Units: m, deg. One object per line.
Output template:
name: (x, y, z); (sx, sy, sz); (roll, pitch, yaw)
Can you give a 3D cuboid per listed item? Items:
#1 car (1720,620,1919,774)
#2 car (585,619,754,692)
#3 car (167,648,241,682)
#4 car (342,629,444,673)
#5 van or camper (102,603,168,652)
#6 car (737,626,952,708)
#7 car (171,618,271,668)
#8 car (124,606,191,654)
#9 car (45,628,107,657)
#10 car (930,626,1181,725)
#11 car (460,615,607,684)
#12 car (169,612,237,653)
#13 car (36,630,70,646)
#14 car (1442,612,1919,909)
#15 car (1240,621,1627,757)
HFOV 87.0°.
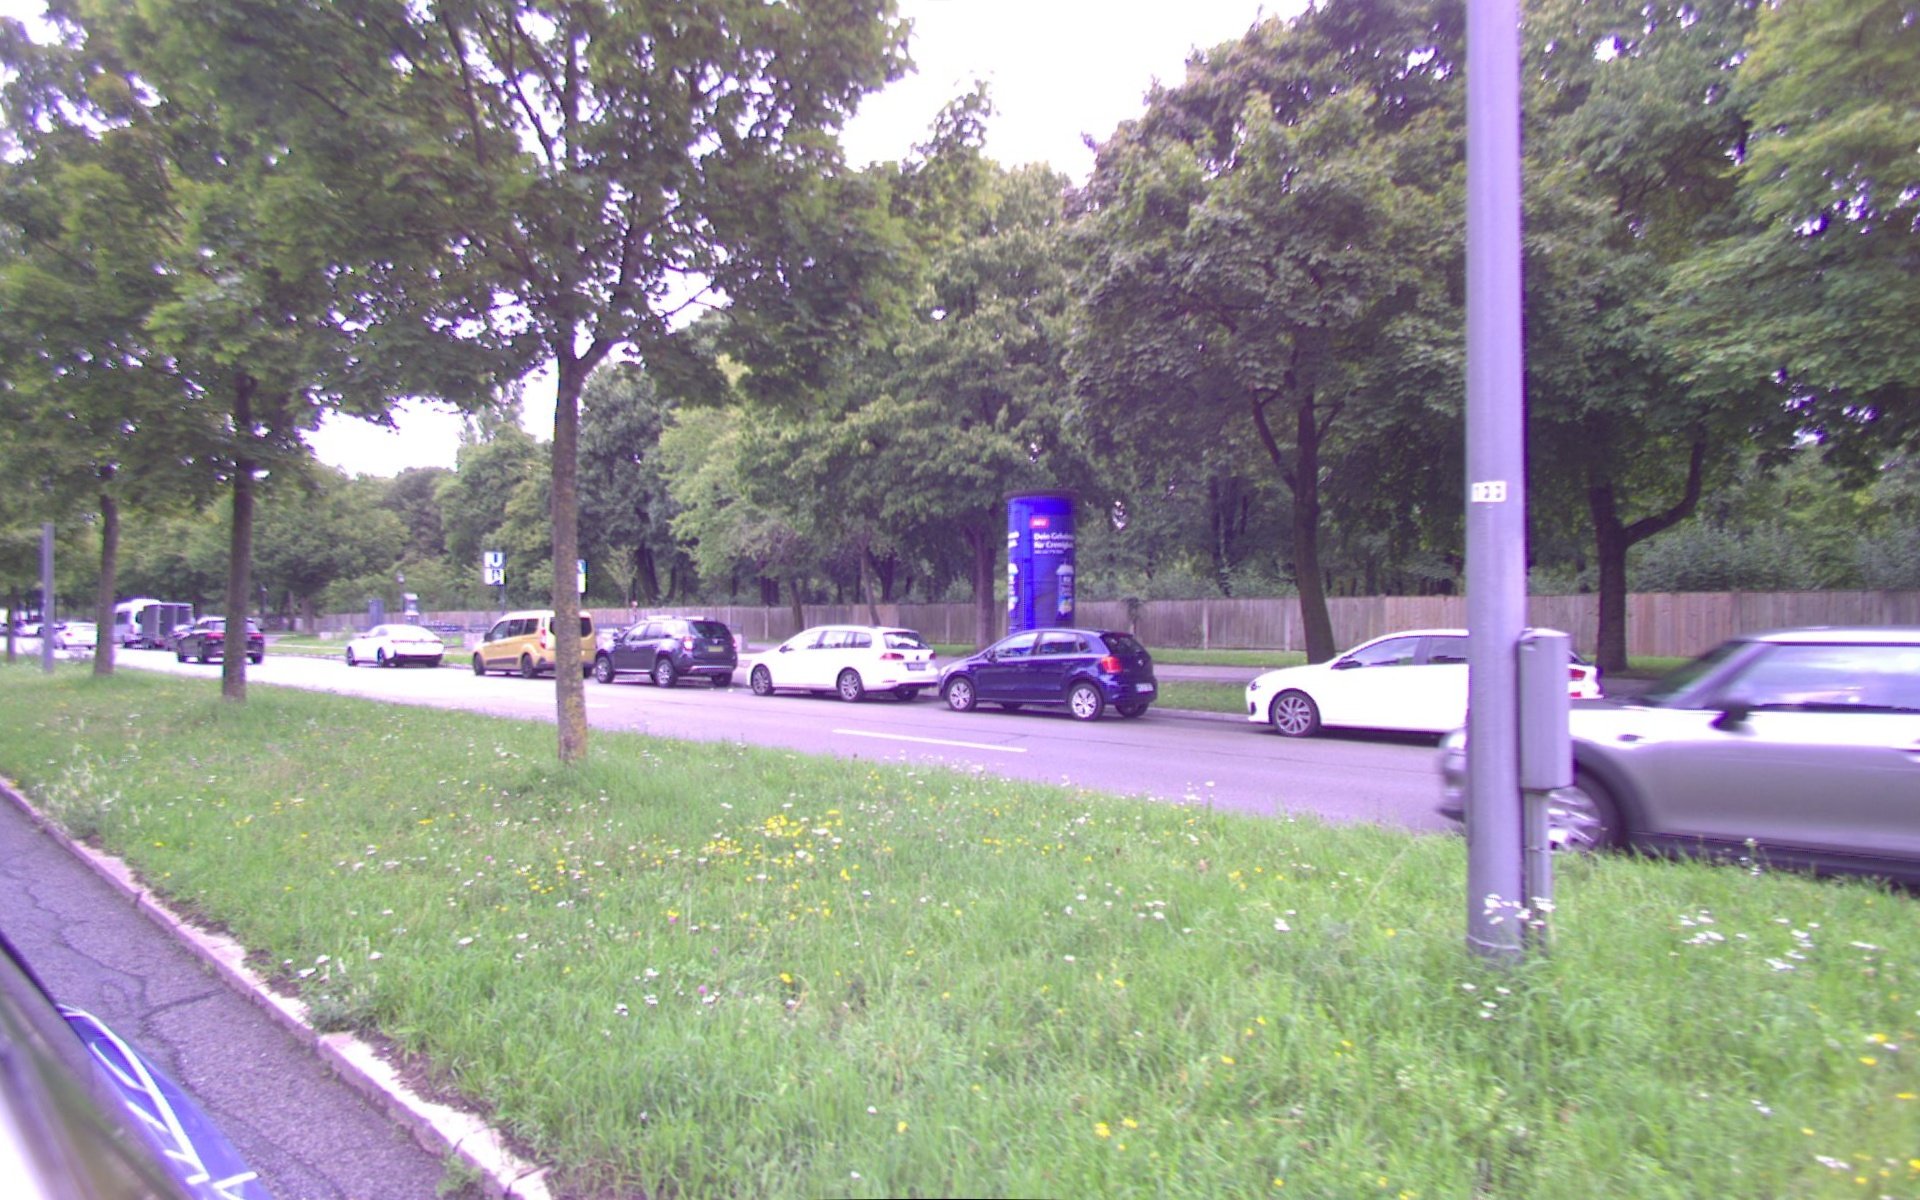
car: (9.742, 0.936, 9.797); (3.685, 1.433, 1.632); (-1, -4, 41)
car: (-7.082, 1.299, 24.536); (4.036, 1.628, 1.982); (-1, -3, 38)
car: (-34.484, 2.923, 46.129); (4.036, 1.420, 1.696); (-1, -3, 39)
car: (-19.886, 1.741, 35.422); (4.036, 1.454, 1.696); (-1, -3, 39)
van or camper: (-49.063, 1.645, 60.182); (4.926, 2.829, 1.974); (-1, -3, 39)
car: (-2.389, 1.275, 20.369); (4.295, 1.481, 1.804); (-1, -3, 39)
car: (-26.485, 1.530, 36.241); (4.497, 1.682, 1.842); (-1, -3, 40)
car: (-45.397, 1.685, 57.232); (4.494, 2.611, 1.974); (-1, -3, 38)
car: (-47.910, 2.297, 54.834); (4.497, 1.467, 1.842); (-1, -3, 40)
car: (1.532, 1.184, 16.807); (3.783, 1.457, 1.804); (-1, -4, 38)
car: (-11.997, 1.338, 28.347); (4.528, 1.784, 1.839); (-1, -3, 39)
car: (-39.244, 1.656, 52.453); (3.997, 2.029, 1.973); (-1, -1, 40)
car: (-85.162, 3.574, 94.966); (4.036, 1.420, 1.696); (-1, -3, 39)
car: (4.883, 0.799, 5.564); (3.762, 1.393, 1.701); (-1, -4, 38)
car: (6.035, 1.064, 13.209); (4.258, 1.488, 1.802); (-1, -4, 41)
